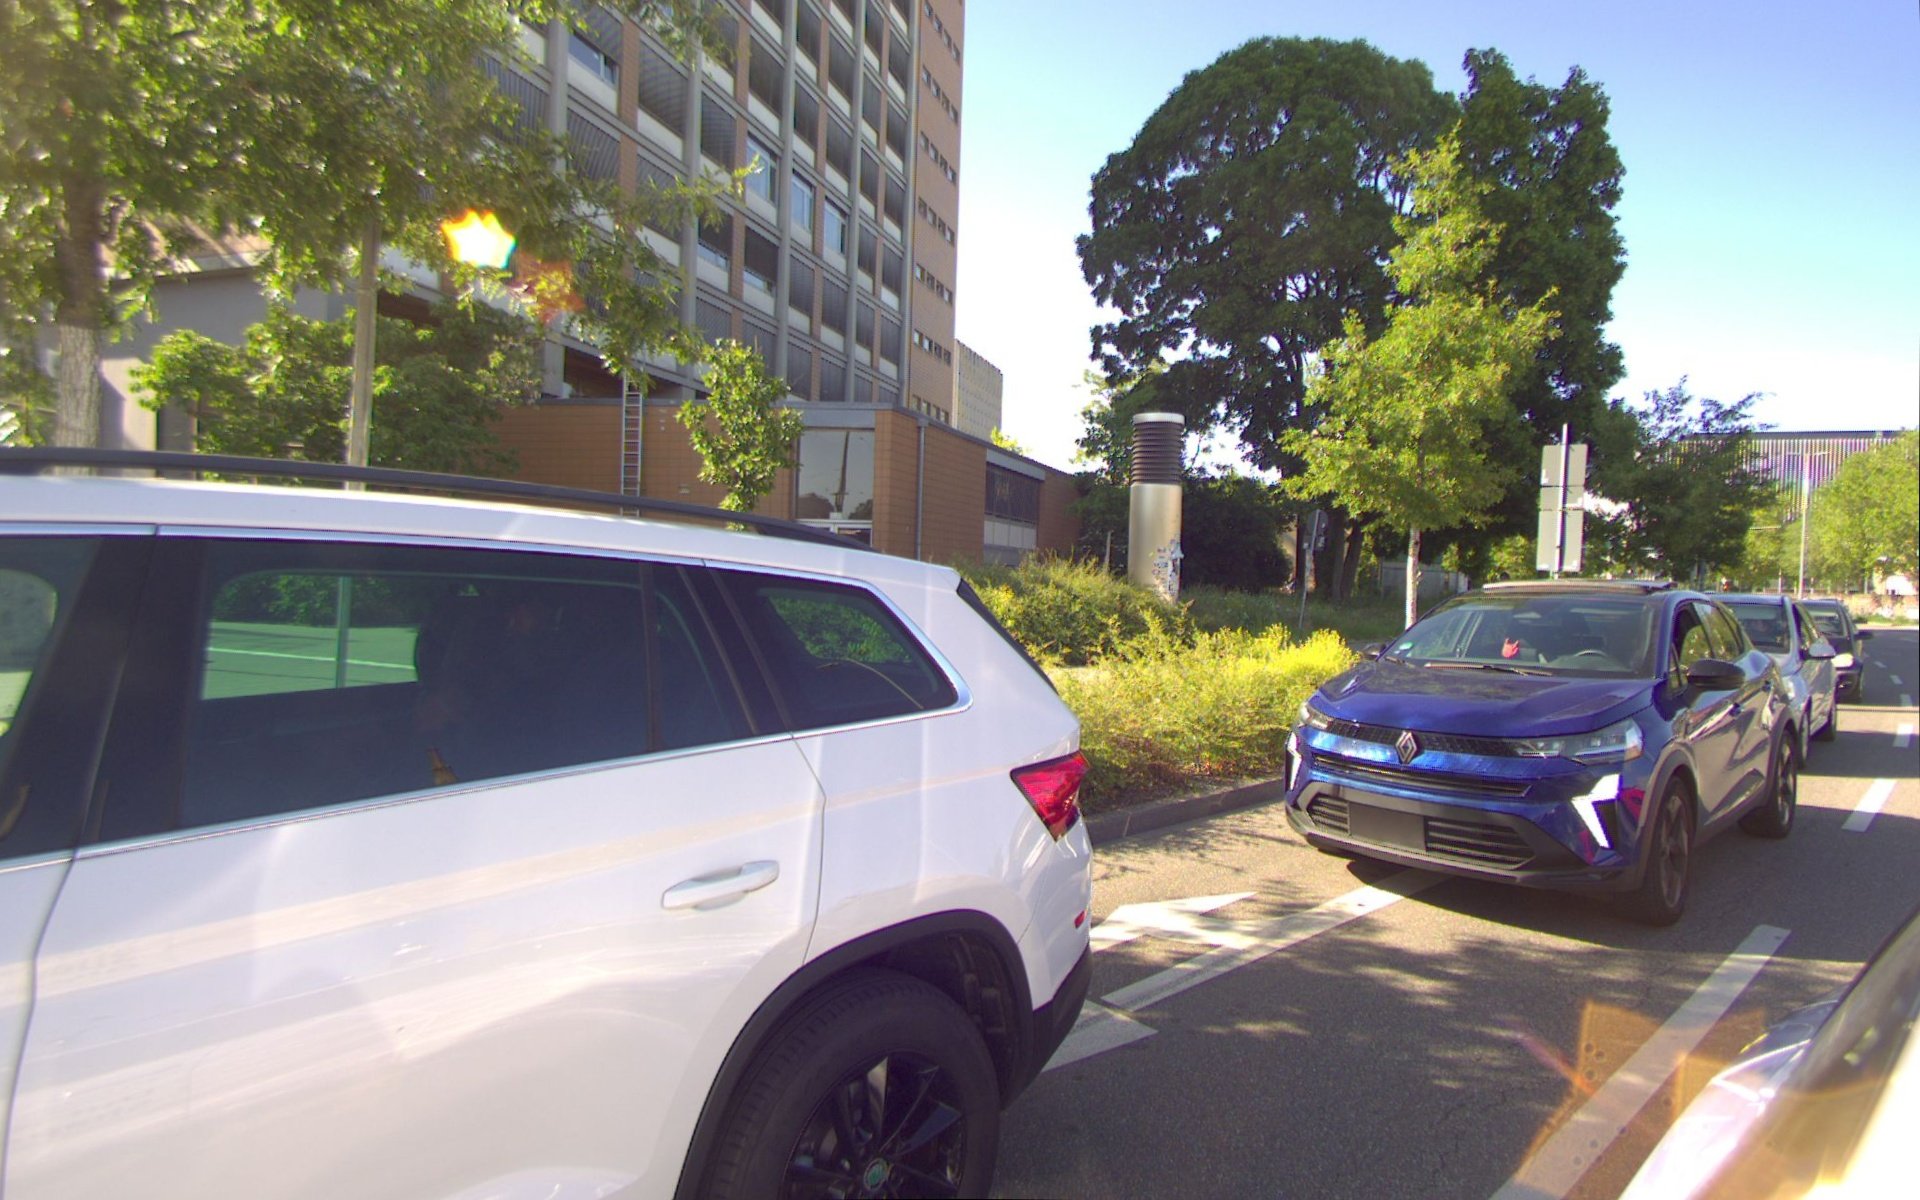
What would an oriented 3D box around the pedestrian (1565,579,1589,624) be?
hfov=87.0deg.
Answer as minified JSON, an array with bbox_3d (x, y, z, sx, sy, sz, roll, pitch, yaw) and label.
[{"bbox_3d":[23.035,0.044,37.770,0.688,1.624,0.653,2,1,34],"label":"pedestrian"}]

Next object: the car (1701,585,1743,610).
[{"bbox_3d":[64.803,-0.265,86.164,1.767,2.039,4.201,1,1,22],"label":"car"}]

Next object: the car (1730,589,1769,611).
[{"bbox_3d":[61.844,-0.011,79.307,1.578,1.625,3.048,2,1,23],"label":"car"}]

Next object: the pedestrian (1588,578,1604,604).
[{"bbox_3d":[47.612,-0.655,75.770,0.811,1.941,0.767,0,0,20],"label":"pedestrian"}]

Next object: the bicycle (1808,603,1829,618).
[{"bbox_3d":[51.093,0.625,60.218,0.585,0.900,1.639,0,0,28],"label":"bicycle"}]

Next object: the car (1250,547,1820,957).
[{"bbox_3d":[3.592,0.588,5.984,4.013,1.626,1.704,0,1,-41],"label":"car"}]

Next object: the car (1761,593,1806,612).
[{"bbox_3d":[59.389,0.176,73.007,1.569,1.219,3.967,0,2,25],"label":"car"}]

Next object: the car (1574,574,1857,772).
[{"bbox_3d":[8.029,0.602,10.613,3.977,1.644,1.782,0,2,-45],"label":"car"}]

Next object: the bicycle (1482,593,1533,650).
[{"bbox_3d":[12.805,0.469,23.663,0.689,1.232,1.809,5,3,38],"label":"bicycle"}]

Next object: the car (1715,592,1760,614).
[{"bbox_3d":[52.534,0.164,68.441,1.736,1.396,3.540,1,1,27],"label":"car"}]

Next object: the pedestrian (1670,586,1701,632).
[{"bbox_3d":[26.458,0.311,36.908,0.684,1.624,0.658,2,1,18],"label":"pedestrian"}]

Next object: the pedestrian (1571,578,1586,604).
[{"bbox_3d":[46.754,-0.662,76.529,0.811,1.941,0.767,0,0,20],"label":"pedestrian"}]

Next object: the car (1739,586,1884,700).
[{"bbox_3d":[14.085,0.627,16.683,1.646,1.631,3.435,3,2,43],"label":"car"}]

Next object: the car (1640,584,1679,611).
[{"bbox_3d":[51.124,-0.179,74.055,1.811,1.876,3.717,2,1,27],"label":"car"}]

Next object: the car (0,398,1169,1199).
[{"bbox_3d":[-1.633,0.589,1.678,4.223,1.662,1.697,0,2,-42],"label":"car"}]

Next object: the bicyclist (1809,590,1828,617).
[{"bbox_3d":[51.092,0.196,60.207,0.689,1.578,0.808,0,0,28],"label":"bicyclist"}]

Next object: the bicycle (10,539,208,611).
[{"bbox_3d":[-17.550,-0.510,21.016,0.790,1.394,3.111,2,1,26],"label":"bicycle"}]

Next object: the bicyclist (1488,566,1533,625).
[{"bbox_3d":[12.751,-0.113,23.439,0.719,1.294,0.895,5,3,36],"label":"bicyclist"}]

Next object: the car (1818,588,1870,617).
[{"bbox_3d":[55.268,0.149,63.306,1.509,1.700,3.353,1,0,24],"label":"car"}]

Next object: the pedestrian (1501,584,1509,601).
[{"bbox_3d":[65.376,-0.907,121.342,0.812,1.941,0.766,0,0,23],"label":"pedestrian"}]
